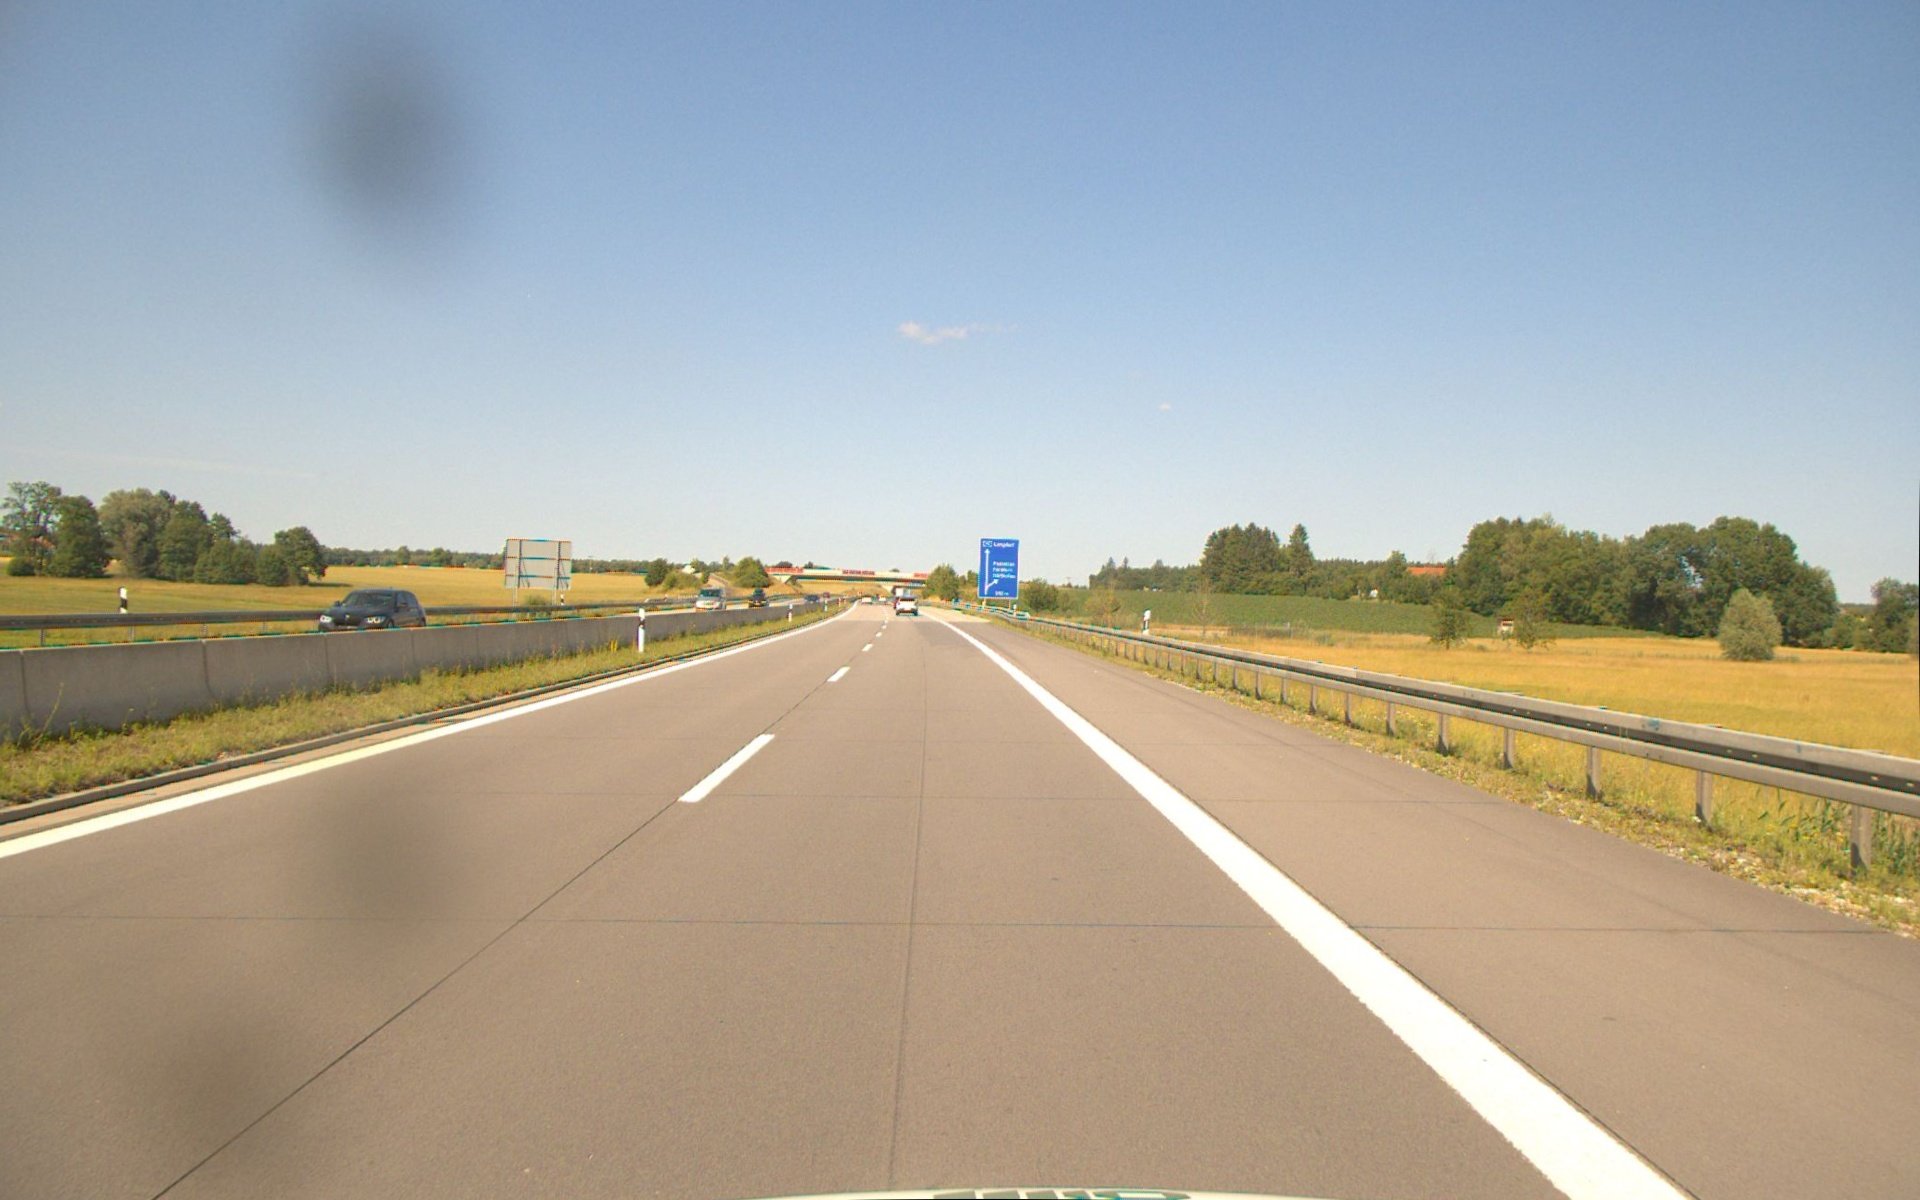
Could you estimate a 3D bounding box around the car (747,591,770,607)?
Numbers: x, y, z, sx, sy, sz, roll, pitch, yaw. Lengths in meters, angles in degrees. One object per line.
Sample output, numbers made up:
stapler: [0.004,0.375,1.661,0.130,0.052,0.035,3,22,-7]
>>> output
car: [-19.963,-0.102,164.157,1.860,1.550,4.803,0,0,-2]

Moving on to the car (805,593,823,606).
car: [-17.467,-0.073,198.189,1.860,1.550,4.803,0,0,-2]

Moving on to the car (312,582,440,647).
car: [-15.318,0.349,43.641,1.821,1.612,4.912,0,0,-3]

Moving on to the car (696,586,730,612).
car: [-18.152,-0.065,121.665,1.915,1.874,5.447,0,0,-2]

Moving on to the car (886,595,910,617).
car: [-5.285,0.466,140.162,1.954,1.761,4.866,2,0,-3]

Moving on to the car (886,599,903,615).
car: [-7.585,0.781,191.891,1.953,1.761,4.867,2,0,-2]
